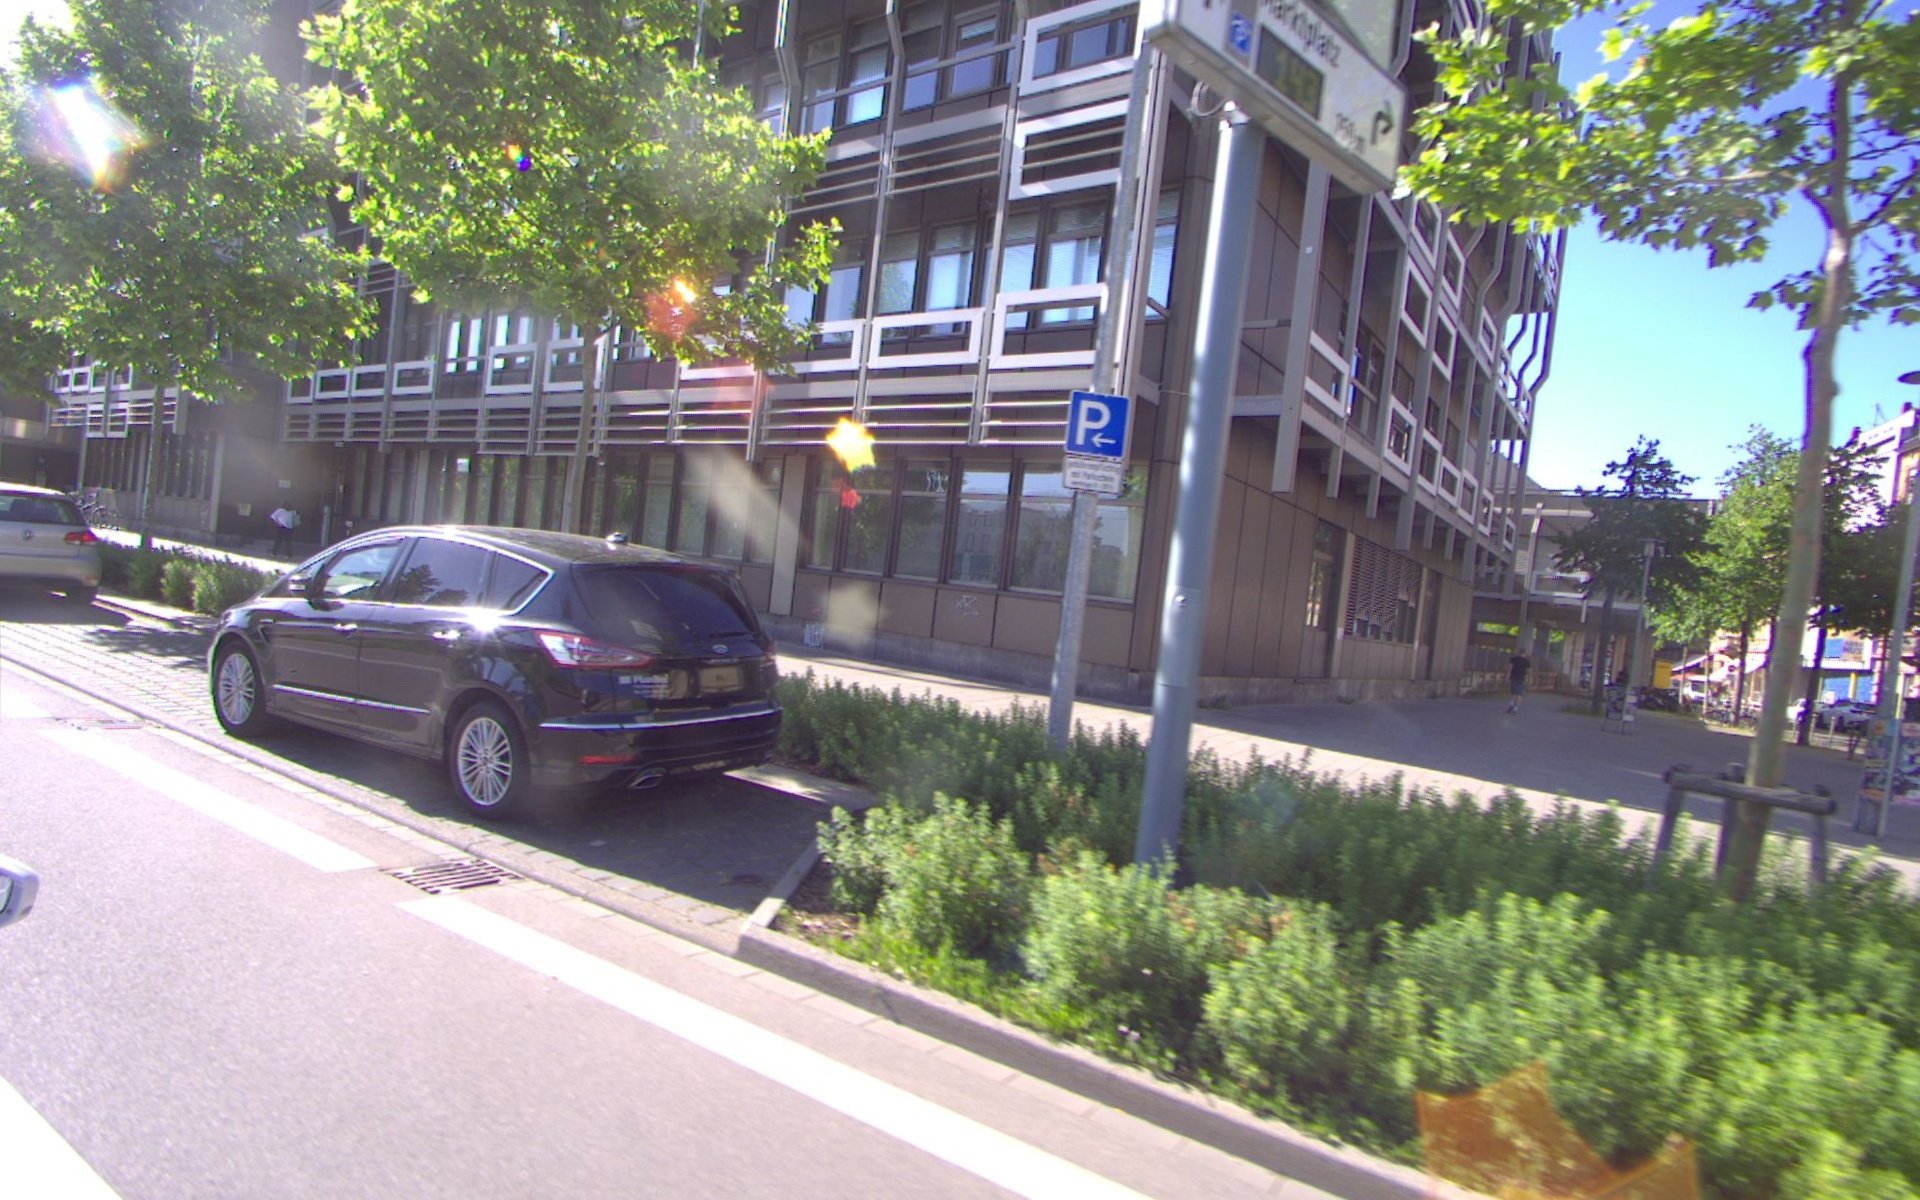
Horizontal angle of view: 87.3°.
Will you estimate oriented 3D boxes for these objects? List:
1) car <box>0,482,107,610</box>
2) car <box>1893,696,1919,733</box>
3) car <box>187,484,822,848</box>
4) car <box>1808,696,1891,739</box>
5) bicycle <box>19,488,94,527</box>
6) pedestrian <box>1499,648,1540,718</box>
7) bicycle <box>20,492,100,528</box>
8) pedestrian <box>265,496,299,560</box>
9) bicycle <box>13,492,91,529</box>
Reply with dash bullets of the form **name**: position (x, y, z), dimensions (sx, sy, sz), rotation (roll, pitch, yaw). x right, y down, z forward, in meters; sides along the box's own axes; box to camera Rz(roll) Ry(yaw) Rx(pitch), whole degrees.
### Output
- **car**: position (-13.247, -0.851, 13.457), dimensions (4.087, 1.484, 1.618), rotation (7, 2, 32)
- **car**: position (39.427, 4.746, 40.161), dimensions (1.681, 1.371, 3.823), rotation (7, 0, 20)
- **car**: position (-3.318, 0.270, 7.055), dimensions (4.395, 1.680, 1.749), rotation (7, 1, 31)
- **car**: position (42.469, 5.557, 48.115), dimensions (1.508, 1.574, 3.823), rotation (7, 0, 20)
- **bicycle**: position (-30.957, -3.171, 34.489), dimensions (0.420, 1.112, 1.855), rotation (8, 3, 38)
- **pedestrian**: position (15.293, 2.257, 27.511), dimensions (0.762, 1.806, 0.639), rotation (8, 2, 30)
- **bicycle**: position (-29.115, -2.901, 32.571), dimensions (0.420, 0.951, 1.855), rotation (8, 3, 38)
- **pedestrian**: position (-18.293, -1.934, 27.138), dimensions (0.663, 1.645, 0.510), rotation (8, 4, 36)
- **bicycle**: position (-30.178, -2.974, 33.468), dimensions (0.420, 1.024, 1.855), rotation (8, 3, 38)
